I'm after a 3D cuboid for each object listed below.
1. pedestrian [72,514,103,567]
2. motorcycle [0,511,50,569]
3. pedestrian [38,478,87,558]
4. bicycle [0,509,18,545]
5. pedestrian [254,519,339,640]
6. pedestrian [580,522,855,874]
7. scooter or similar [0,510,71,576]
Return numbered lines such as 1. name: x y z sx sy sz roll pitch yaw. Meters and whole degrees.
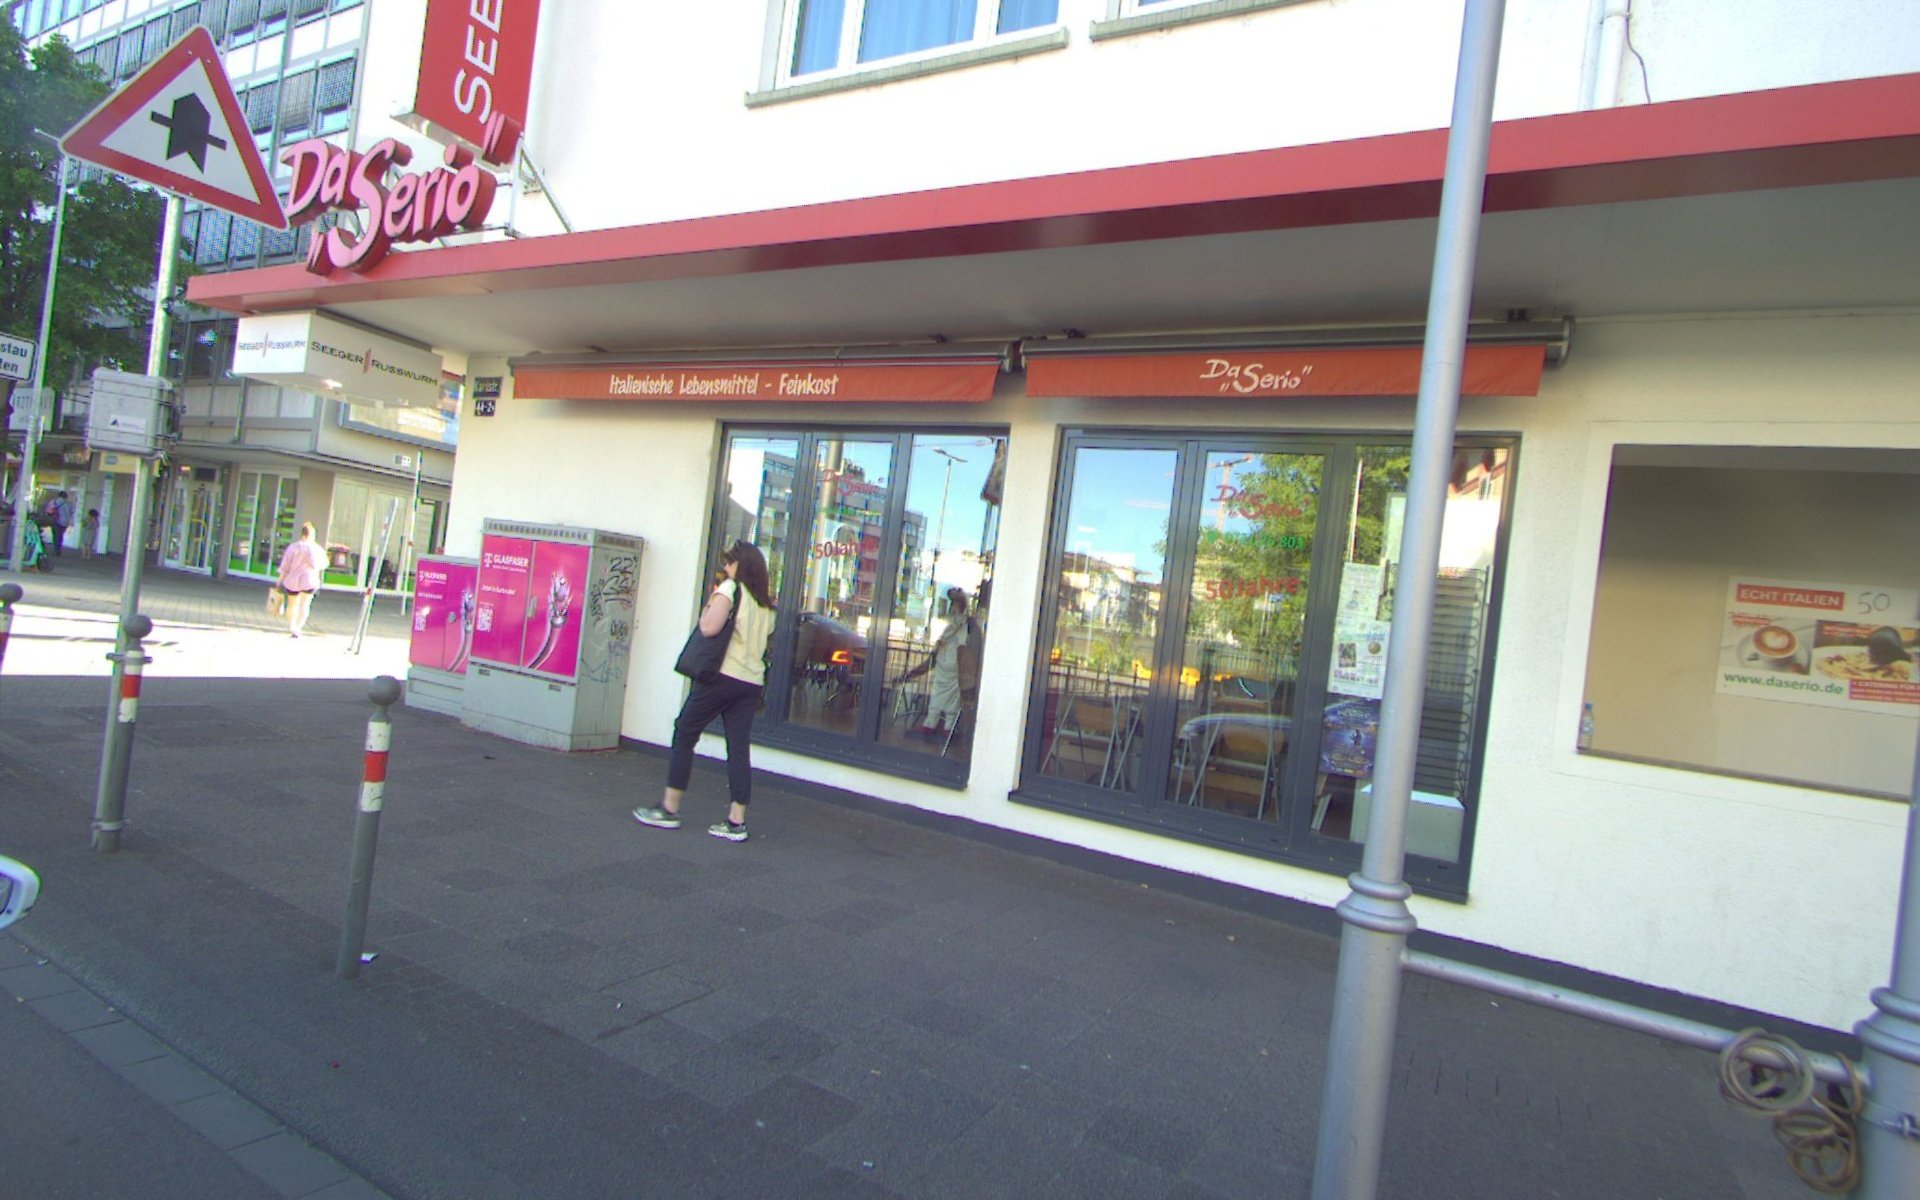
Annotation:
1. pedestrian: -23.718 -1.607 27.350 0.504 1.359 0.390 6 -1 34
2. motorcycle: -21.541 -1.409 22.394 0.532 1.186 1.711 7 -2 30
3. pedestrian: -24.090 -2.188 26.996 0.570 2.037 0.663 6 -1 34
4. bicycle: -29.747 -2.285 31.289 1.237 1.046 0.332 6 -1 36
5. pedestrian: -10.101 -0.312 15.326 0.884 1.687 0.801 8 -1 -35
6. pedestrian: -1.394 0.528 5.885 1.020 1.773 0.916 7 0 26
7. scooter or similar: -19.949 -1.235 21.186 1.628 1.229 0.640 8 -1 -29
